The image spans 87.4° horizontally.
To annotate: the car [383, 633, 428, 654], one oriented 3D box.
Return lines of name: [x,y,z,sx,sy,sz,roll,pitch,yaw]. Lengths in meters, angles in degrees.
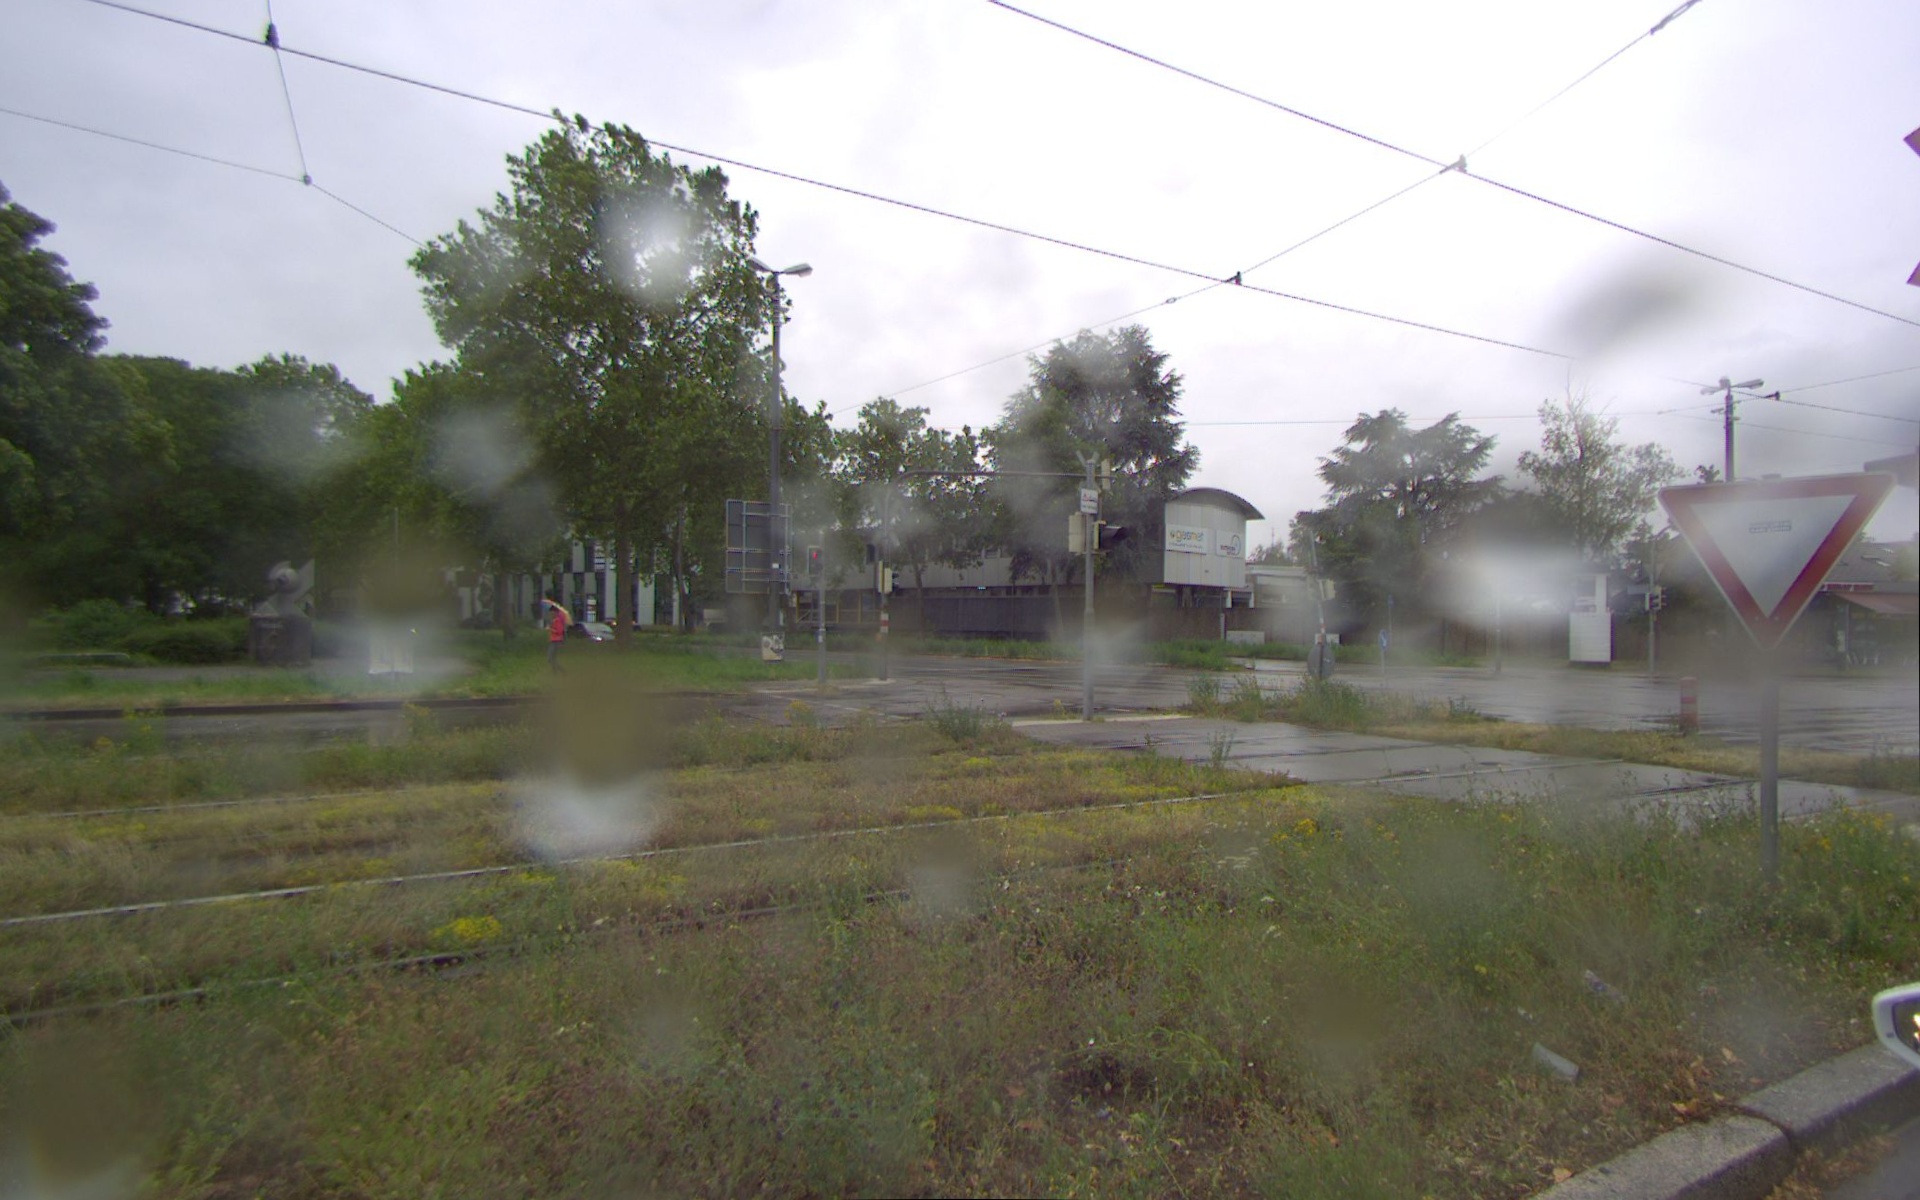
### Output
car: [-38.696,3.055,70.037,1.792,1.425,4.405,2,-3,-42]

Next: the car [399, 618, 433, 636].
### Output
car: [-59.766,2.983,110.246,3.940,1.806,1.990,2,0,41]

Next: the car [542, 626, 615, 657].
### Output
car: [-19.184,2.059,50.434,4.253,1.420,1.794,-1,-1,43]

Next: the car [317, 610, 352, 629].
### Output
car: [-75.286,2.358,120.876,3.932,2.116,2.123,2,0,33]

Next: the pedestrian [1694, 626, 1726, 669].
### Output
pedestrian: [32.581,2.049,43.627,0.873,1.821,0.724,1,1,-19]

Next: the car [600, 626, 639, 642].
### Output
car: [-32.155,3.212,95.016,1.659,1.417,4.137,2,0,9]

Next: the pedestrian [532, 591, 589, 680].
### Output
pedestrian: [-9.297,0.819,23.377,0.998,2.017,0.945,2,0,-34]

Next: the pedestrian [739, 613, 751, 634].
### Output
pedestrian: [-17.262,1.867,80.678,0.667,1.690,0.815,2,0,-40]

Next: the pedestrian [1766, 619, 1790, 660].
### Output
pedestrian: [40.785,1.964,50.078,0.786,2.040,0.719,2,0,-34]

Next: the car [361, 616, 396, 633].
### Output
car: [-65.886,2.755,113.868,3.934,1.806,1.993,2,0,36]
